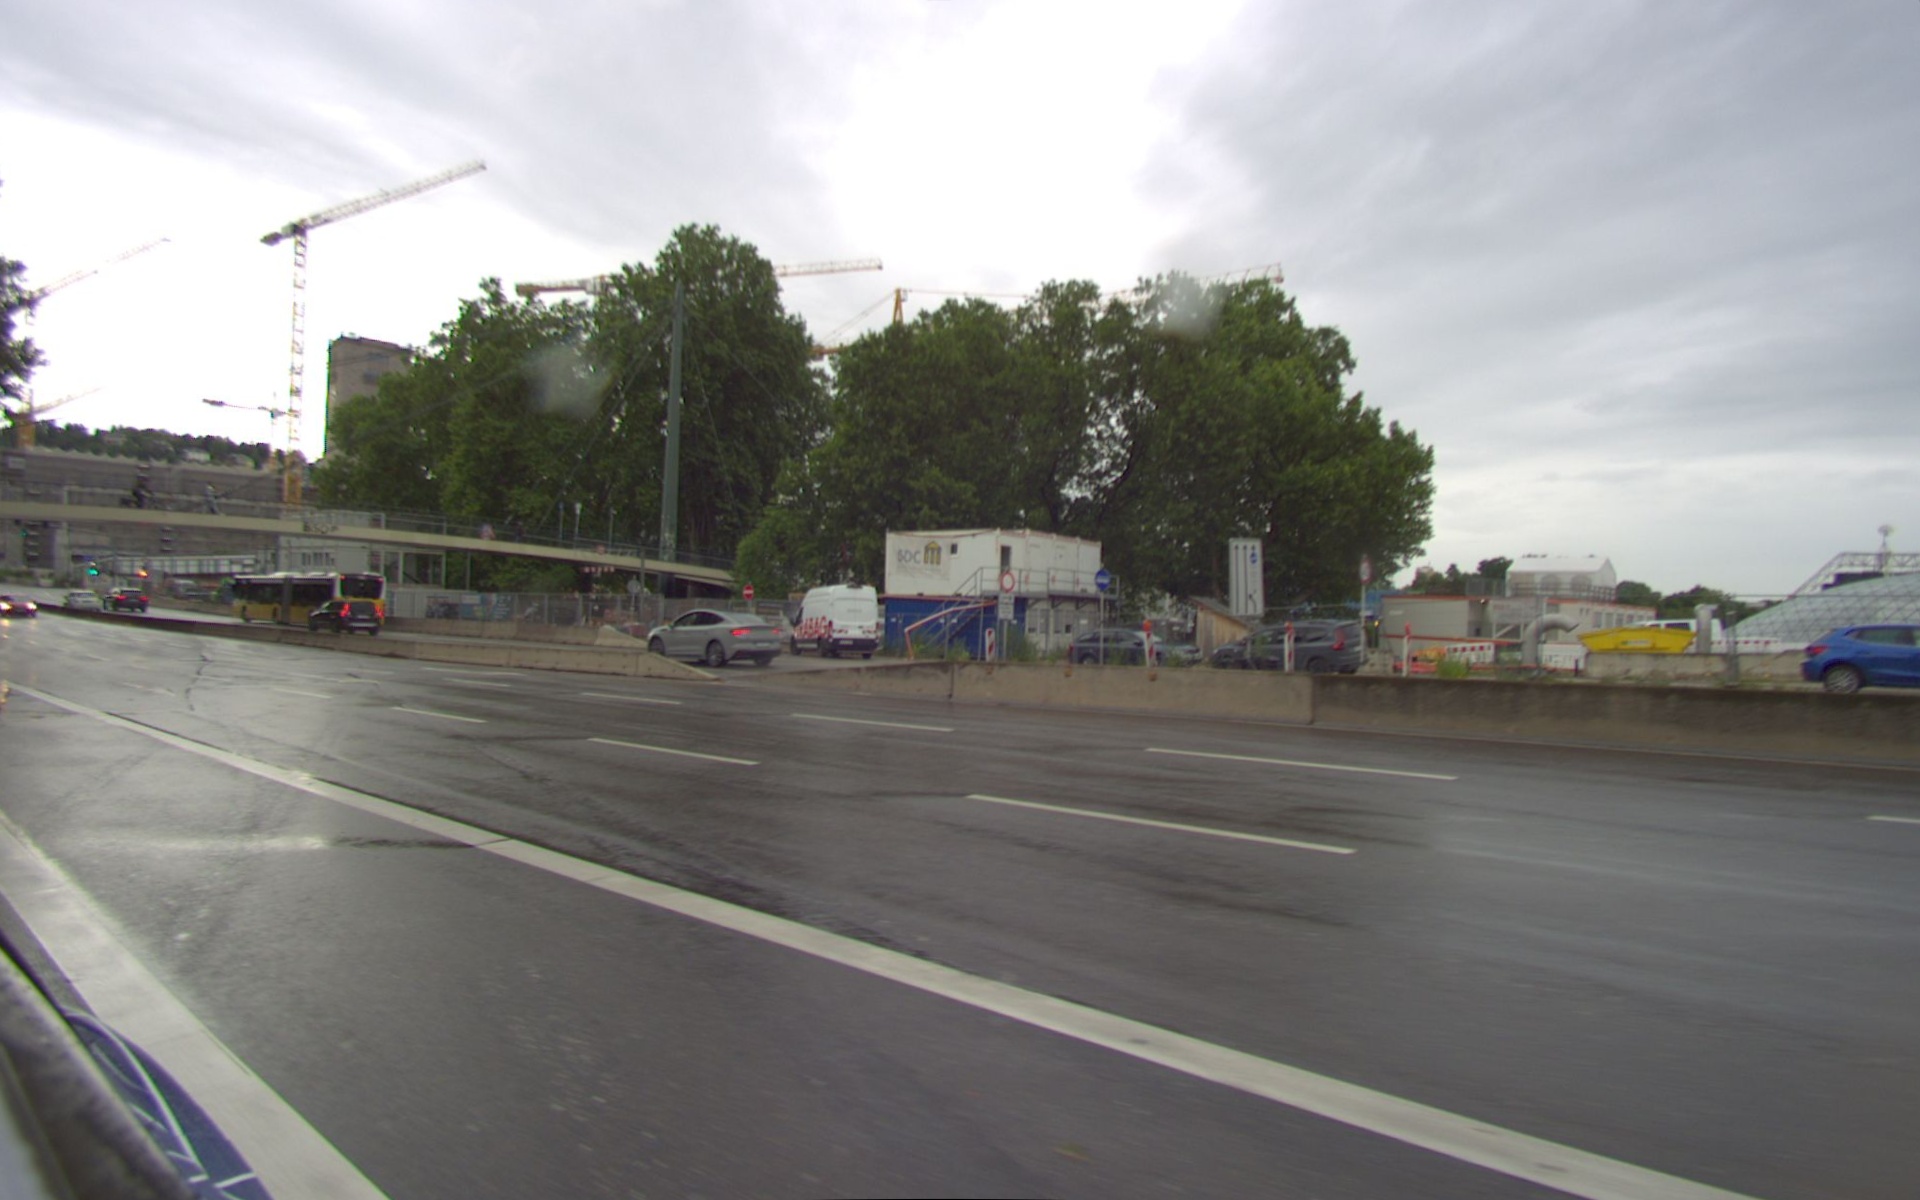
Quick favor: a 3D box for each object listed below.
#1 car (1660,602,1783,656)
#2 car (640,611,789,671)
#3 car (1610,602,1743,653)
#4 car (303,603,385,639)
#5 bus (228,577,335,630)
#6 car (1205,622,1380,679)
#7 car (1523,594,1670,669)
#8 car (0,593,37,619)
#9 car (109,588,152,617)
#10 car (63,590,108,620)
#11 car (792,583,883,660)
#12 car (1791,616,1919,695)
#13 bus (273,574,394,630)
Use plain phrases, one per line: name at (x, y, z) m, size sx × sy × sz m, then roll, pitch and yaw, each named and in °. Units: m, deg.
car at (34.710, 1.304, 46.234) m, size 3.960 × 2.402 × 1.992 m, roll 0°, pitch -2°, yaw 13°
car at (-7.060, 1.121, 28.883) m, size 4.434 × 1.588 × 1.818 m, roll -1°, pitch -2°, yaw 39°
car at (34.738, 1.343, 49.162) m, size 4.885 × 2.402 × 1.998 m, roll 0°, pitch -2°, yaw 4°
car at (-28.360, 0.984, 46.569) m, size 4.434 × 1.588 × 1.818 m, roll -1°, pitch -2°, yaw 39°
bus at (-42.268, 0.225, 62.895) m, size 8.947 × 3.079 × 3.197 m, roll -1°, pitch 0°, yaw 40°
car at (9.431, 1.384, 28.955) m, size 1.814 × 1.501 × 4.443 m, roll 2°, pitch -2°, yaw -44°
car at (21.632, 1.070, 34.456) m, size 3.997 × 2.402 × 1.973 m, roll -1°, pitch -2°, yaw 40°
car at (-59.862, 0.402, 64.006) m, size 3.996 × 1.564 × 1.668 m, roll -1°, pitch -2°, yaw 40°
car at (-61.370, 0.227, 74.839) m, size 4.001 × 2.029 × 1.971 m, roll -1°, pitch -2°, yaw 44°
car at (-61.874, 0.358, 71.600) m, size 4.001 × 2.029 × 1.971 m, roll -1°, pitch -2°, yaw 44°
car at (-4.781, 0.838, 38.964) m, size 2.044 × 2.759 × 4.608 m, roll 1°, pitch -2°, yaw -26°
car at (18.984, 1.069, 19.513) m, size 4.441 × 1.501 × 1.815 m, roll -1°, pitch -2°, yaw 44°
bus at (-35.478, 0.125, 57.111) m, size 8.947 × 2.963 × 3.229 m, roll -1°, pitch 0°, yaw 40°
